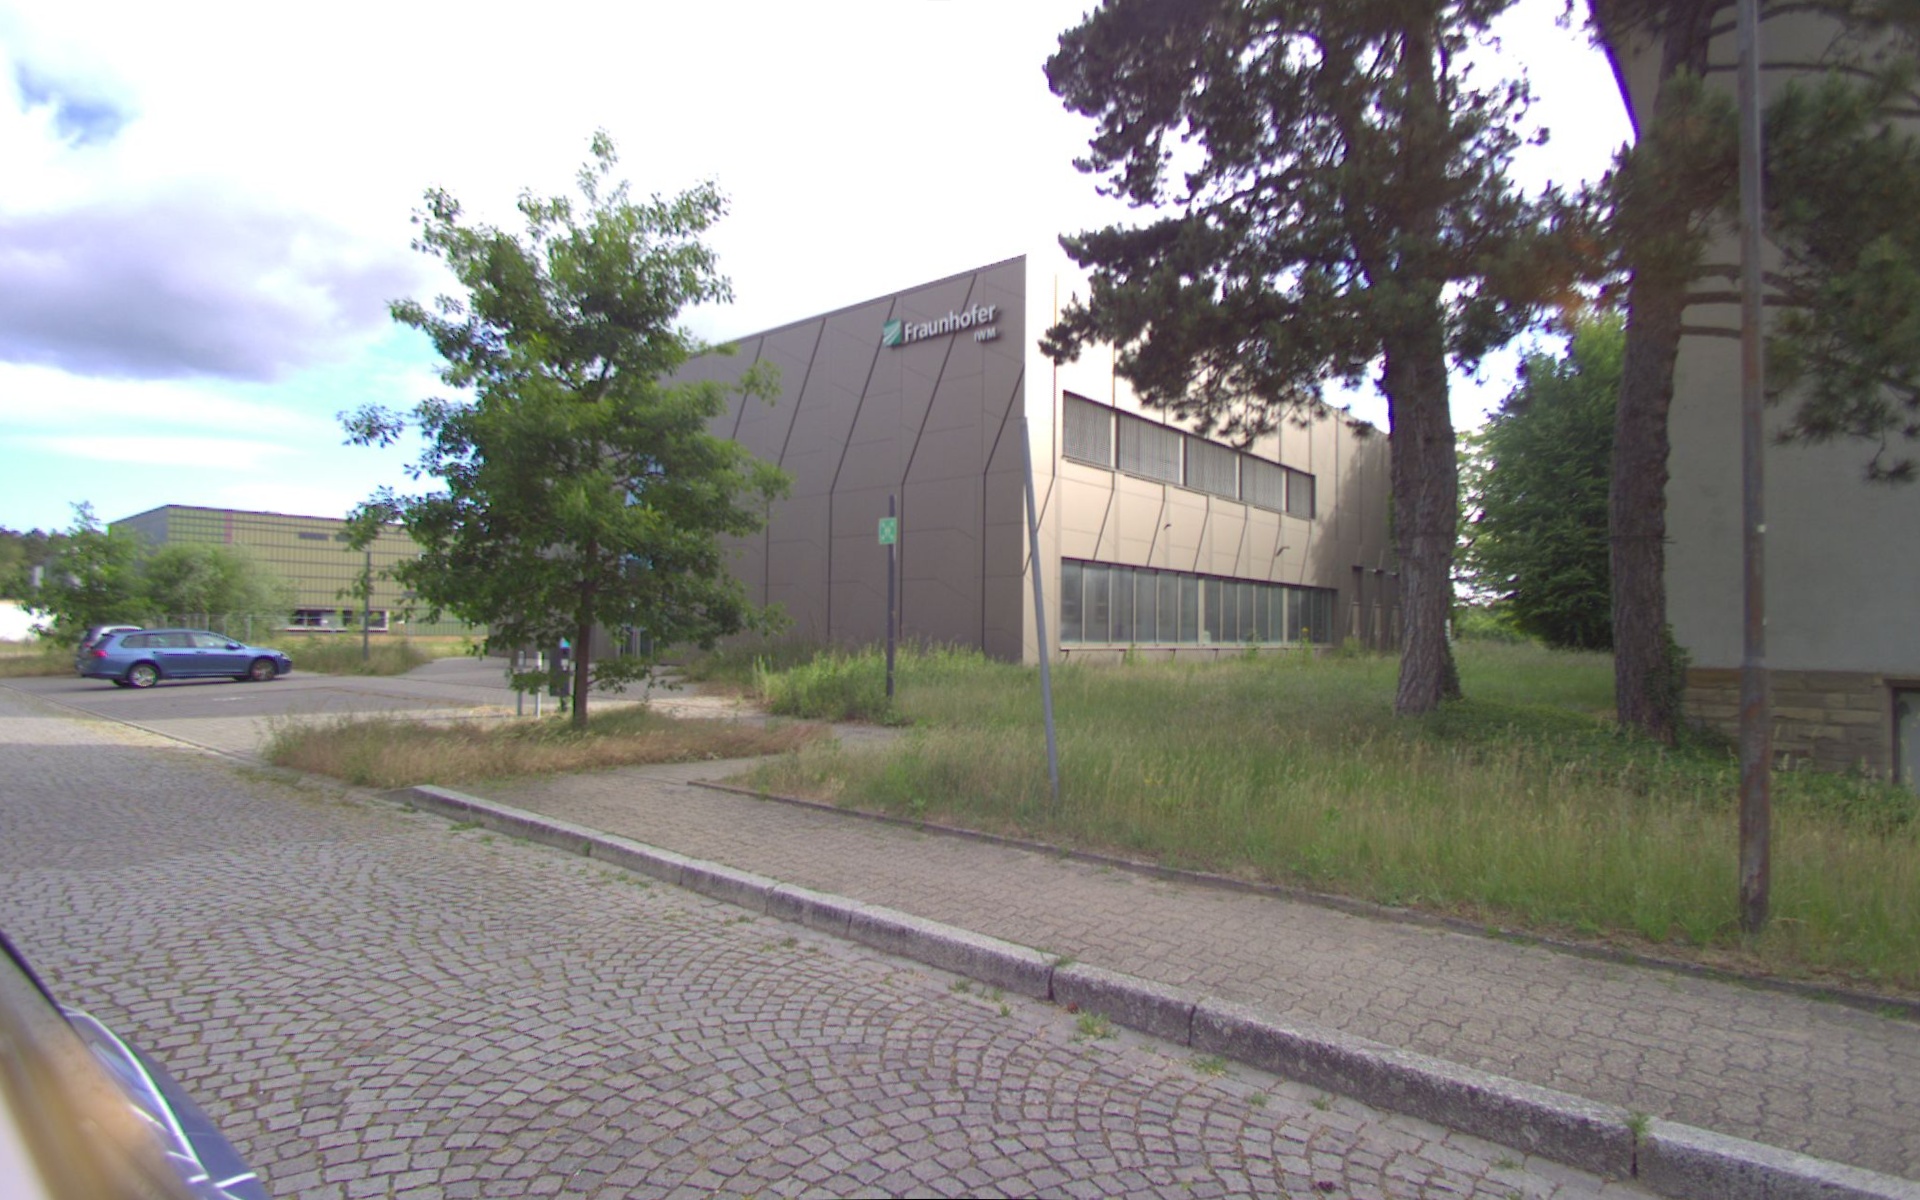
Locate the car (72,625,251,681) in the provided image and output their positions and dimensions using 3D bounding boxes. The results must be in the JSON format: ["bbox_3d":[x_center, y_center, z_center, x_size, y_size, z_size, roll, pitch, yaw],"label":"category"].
[{"bbox_3d":[-25.312,1.637,32.183,4.340,1.557,1.843,-1,-1,-43],"label":"car"}]

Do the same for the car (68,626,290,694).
[{"bbox_3d":[-20.450,1.506,26.667,1.714,1.522,4.351,-1,0,37],"label":"car"}]
